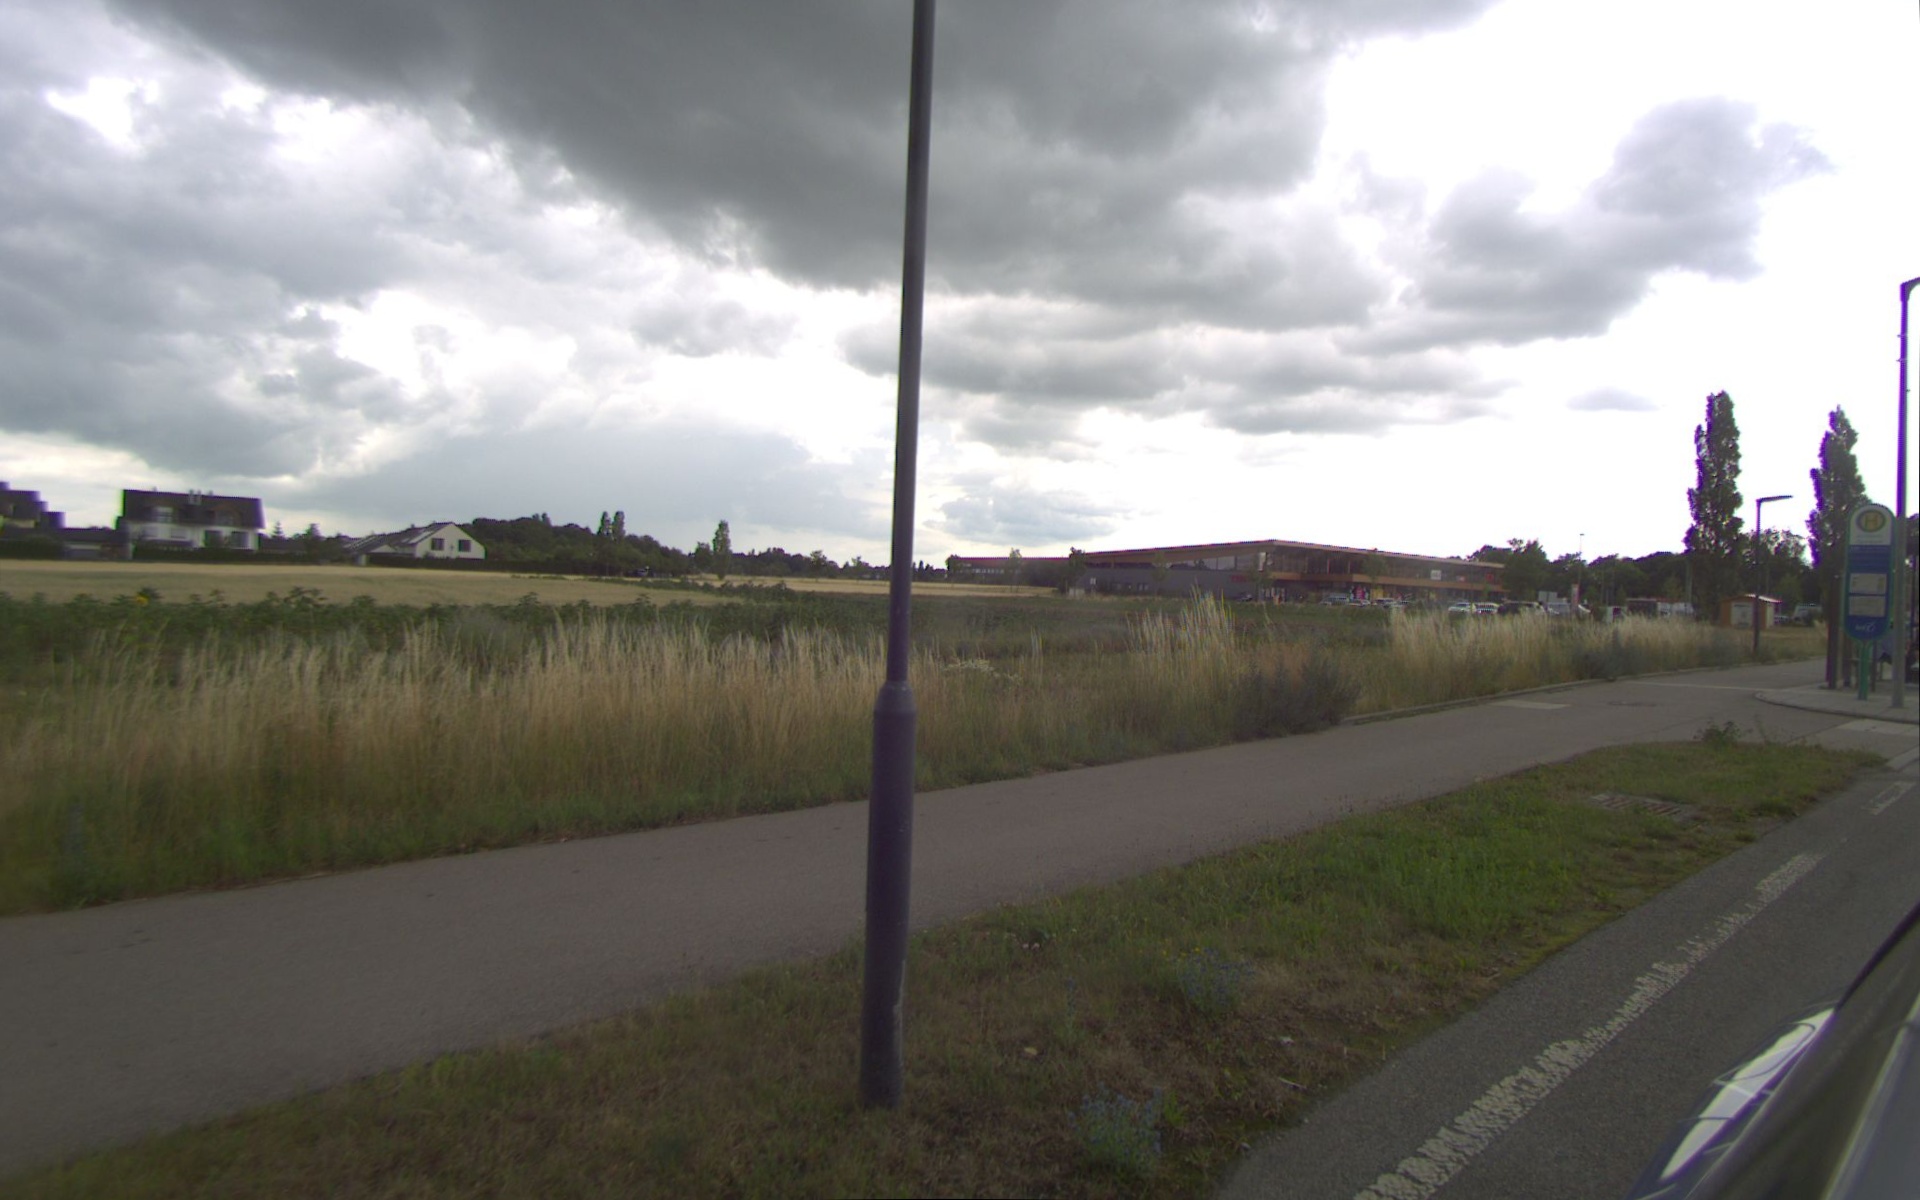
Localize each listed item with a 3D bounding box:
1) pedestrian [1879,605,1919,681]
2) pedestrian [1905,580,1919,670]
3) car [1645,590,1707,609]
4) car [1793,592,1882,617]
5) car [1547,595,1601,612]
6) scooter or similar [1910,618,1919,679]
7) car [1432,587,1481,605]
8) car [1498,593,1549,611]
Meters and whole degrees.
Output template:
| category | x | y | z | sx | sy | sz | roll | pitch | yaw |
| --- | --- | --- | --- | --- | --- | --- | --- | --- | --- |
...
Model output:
| category | x | y | z | sx | sy | sz | roll | pitch | yaw |
| --- | --- | --- | --- | --- | --- | --- | --- | --- | --- |
| pedestrian | 16.799 | 0.756 | 17.994 | 0.665 | 1.319 | 0.497 | 0 | -1 | 44 |
| pedestrian | 19.699 | 0.500 | 20.322 | 0.762 | 1.815 | 0.785 | 0 | -1 | -18 |
| car | 79.847 | -0.096 | 112.911 | 5.512 | 2.039 | 1.968 | 0 | 0 | 45 |
| car | 72.765 | 0.365 | 83.996 | 5.512 | 2.039 | 1.968 | 0 | 0 | 45 |
| car | 75.984 | 0.423 | 125.300 | 5.512 | 2.039 | 1.968 | 0 | 0 | 45 |
| scooter or similar | 17.547 | 0.872 | 17.776 | 1.039 | 1.075 | 0.709 | 0 | 0 | -2 |
| car | 58.082 | -0.481 | 118.405 | 4.842 | 2.039 | 1.969 | 0 | 0 | 43 |
| car | 64.521 | 0.186 | 115.918 | 4.842 | 2.039 | 1.969 | 0 | 0 | 43 |
